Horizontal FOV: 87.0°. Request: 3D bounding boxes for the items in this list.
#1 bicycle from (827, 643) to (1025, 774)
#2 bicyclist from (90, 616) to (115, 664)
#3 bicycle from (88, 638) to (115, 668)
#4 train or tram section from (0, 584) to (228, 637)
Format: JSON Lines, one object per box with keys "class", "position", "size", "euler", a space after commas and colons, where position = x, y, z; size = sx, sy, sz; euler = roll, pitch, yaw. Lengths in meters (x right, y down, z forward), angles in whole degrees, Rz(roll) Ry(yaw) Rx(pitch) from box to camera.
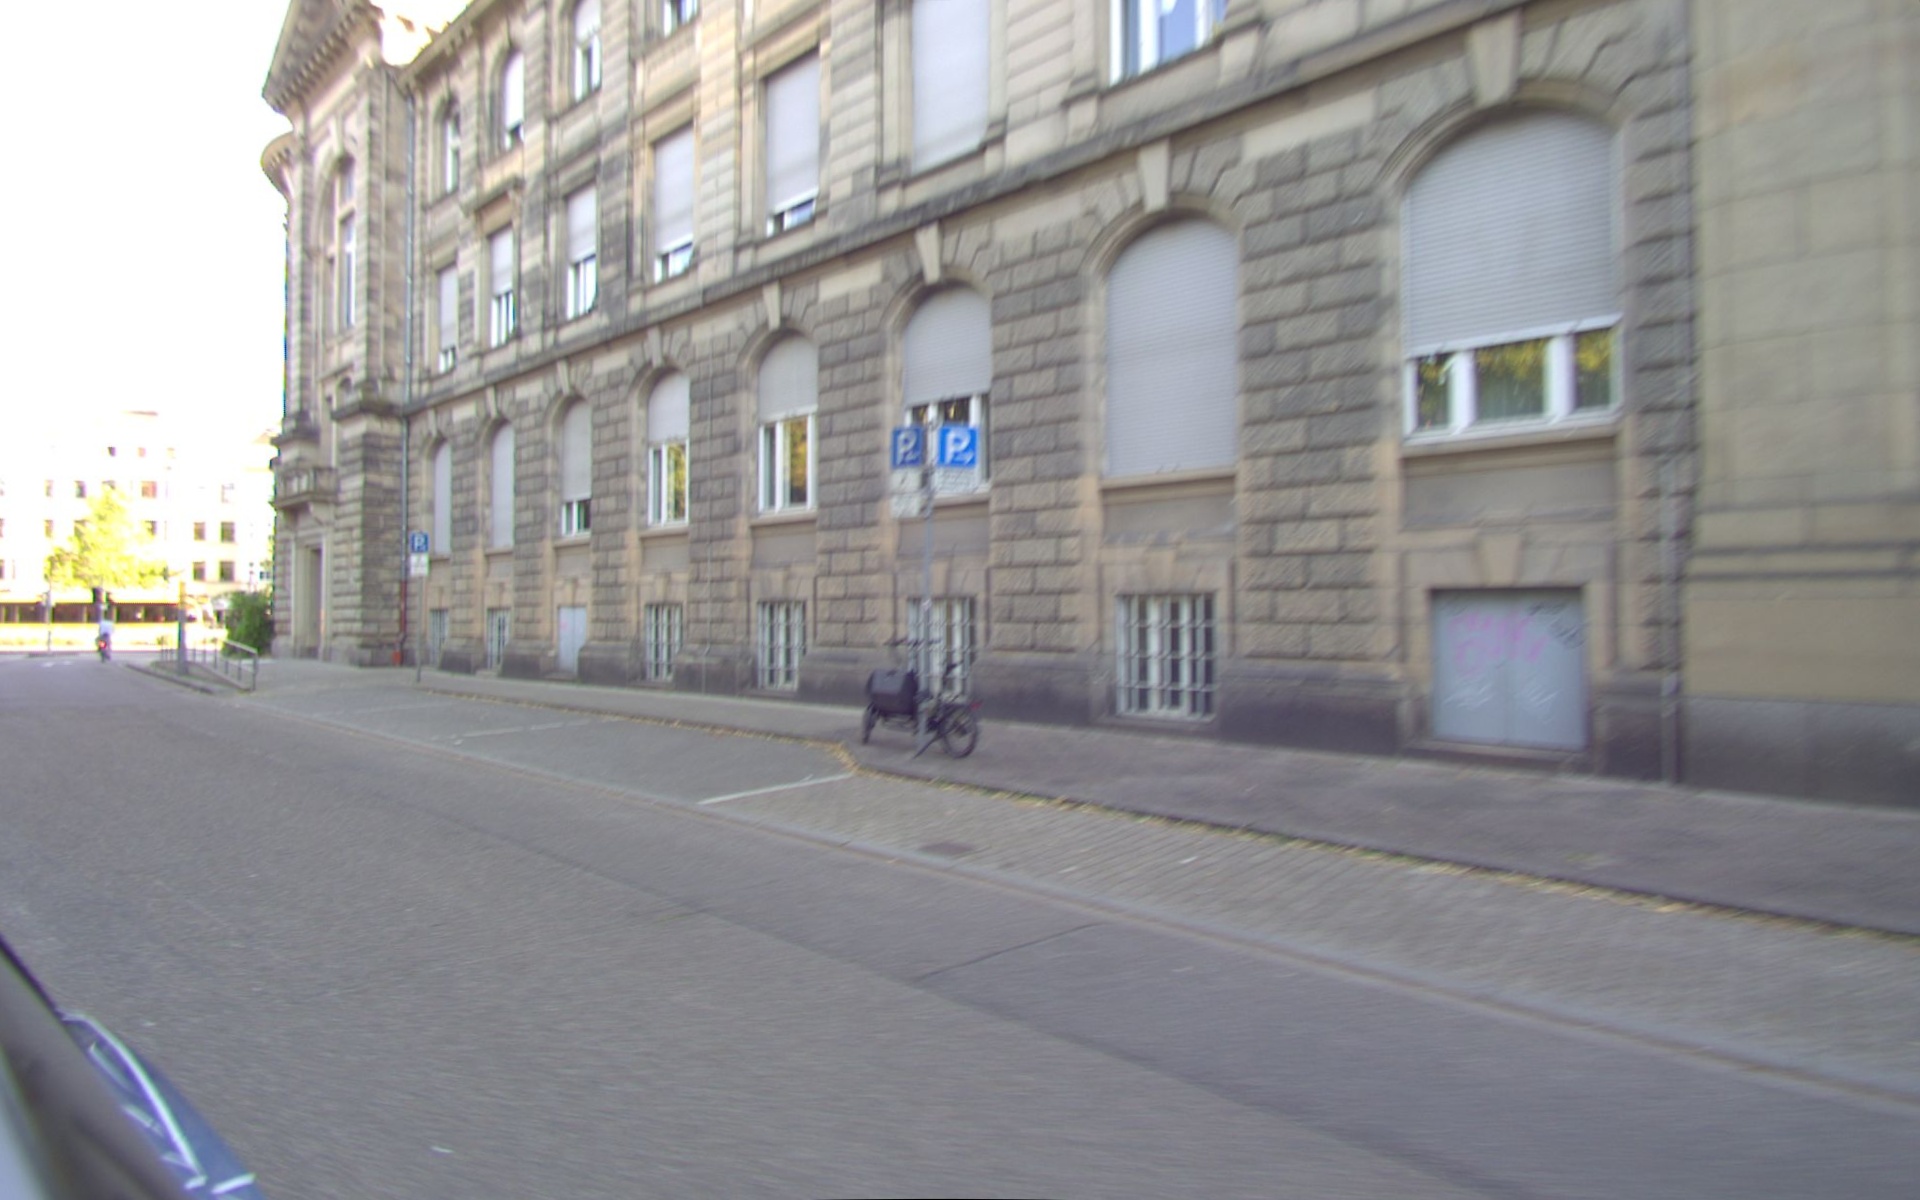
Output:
{"class": "bicycle", "position": [-0.381, 1.015, 10.082], "size": [0.842, 1.110, 1.983], "euler": [-1, 0, -44]}
{"class": "bicyclist", "position": [-32.459, 1.512, 38.300], "size": [0.636, 1.821, 0.782], "euler": [2, -2, -37]}
{"class": "bicycle", "position": [-32.395, 1.969, 38.202], "size": [0.654, 1.078, 2.158], "euler": [2, -2, -37]}
{"class": "train or tram section", "position": [-62.285, 0.759, 69.727], "size": [19.605, 3.586, 3.129], "euler": [0, -2, -11]}
